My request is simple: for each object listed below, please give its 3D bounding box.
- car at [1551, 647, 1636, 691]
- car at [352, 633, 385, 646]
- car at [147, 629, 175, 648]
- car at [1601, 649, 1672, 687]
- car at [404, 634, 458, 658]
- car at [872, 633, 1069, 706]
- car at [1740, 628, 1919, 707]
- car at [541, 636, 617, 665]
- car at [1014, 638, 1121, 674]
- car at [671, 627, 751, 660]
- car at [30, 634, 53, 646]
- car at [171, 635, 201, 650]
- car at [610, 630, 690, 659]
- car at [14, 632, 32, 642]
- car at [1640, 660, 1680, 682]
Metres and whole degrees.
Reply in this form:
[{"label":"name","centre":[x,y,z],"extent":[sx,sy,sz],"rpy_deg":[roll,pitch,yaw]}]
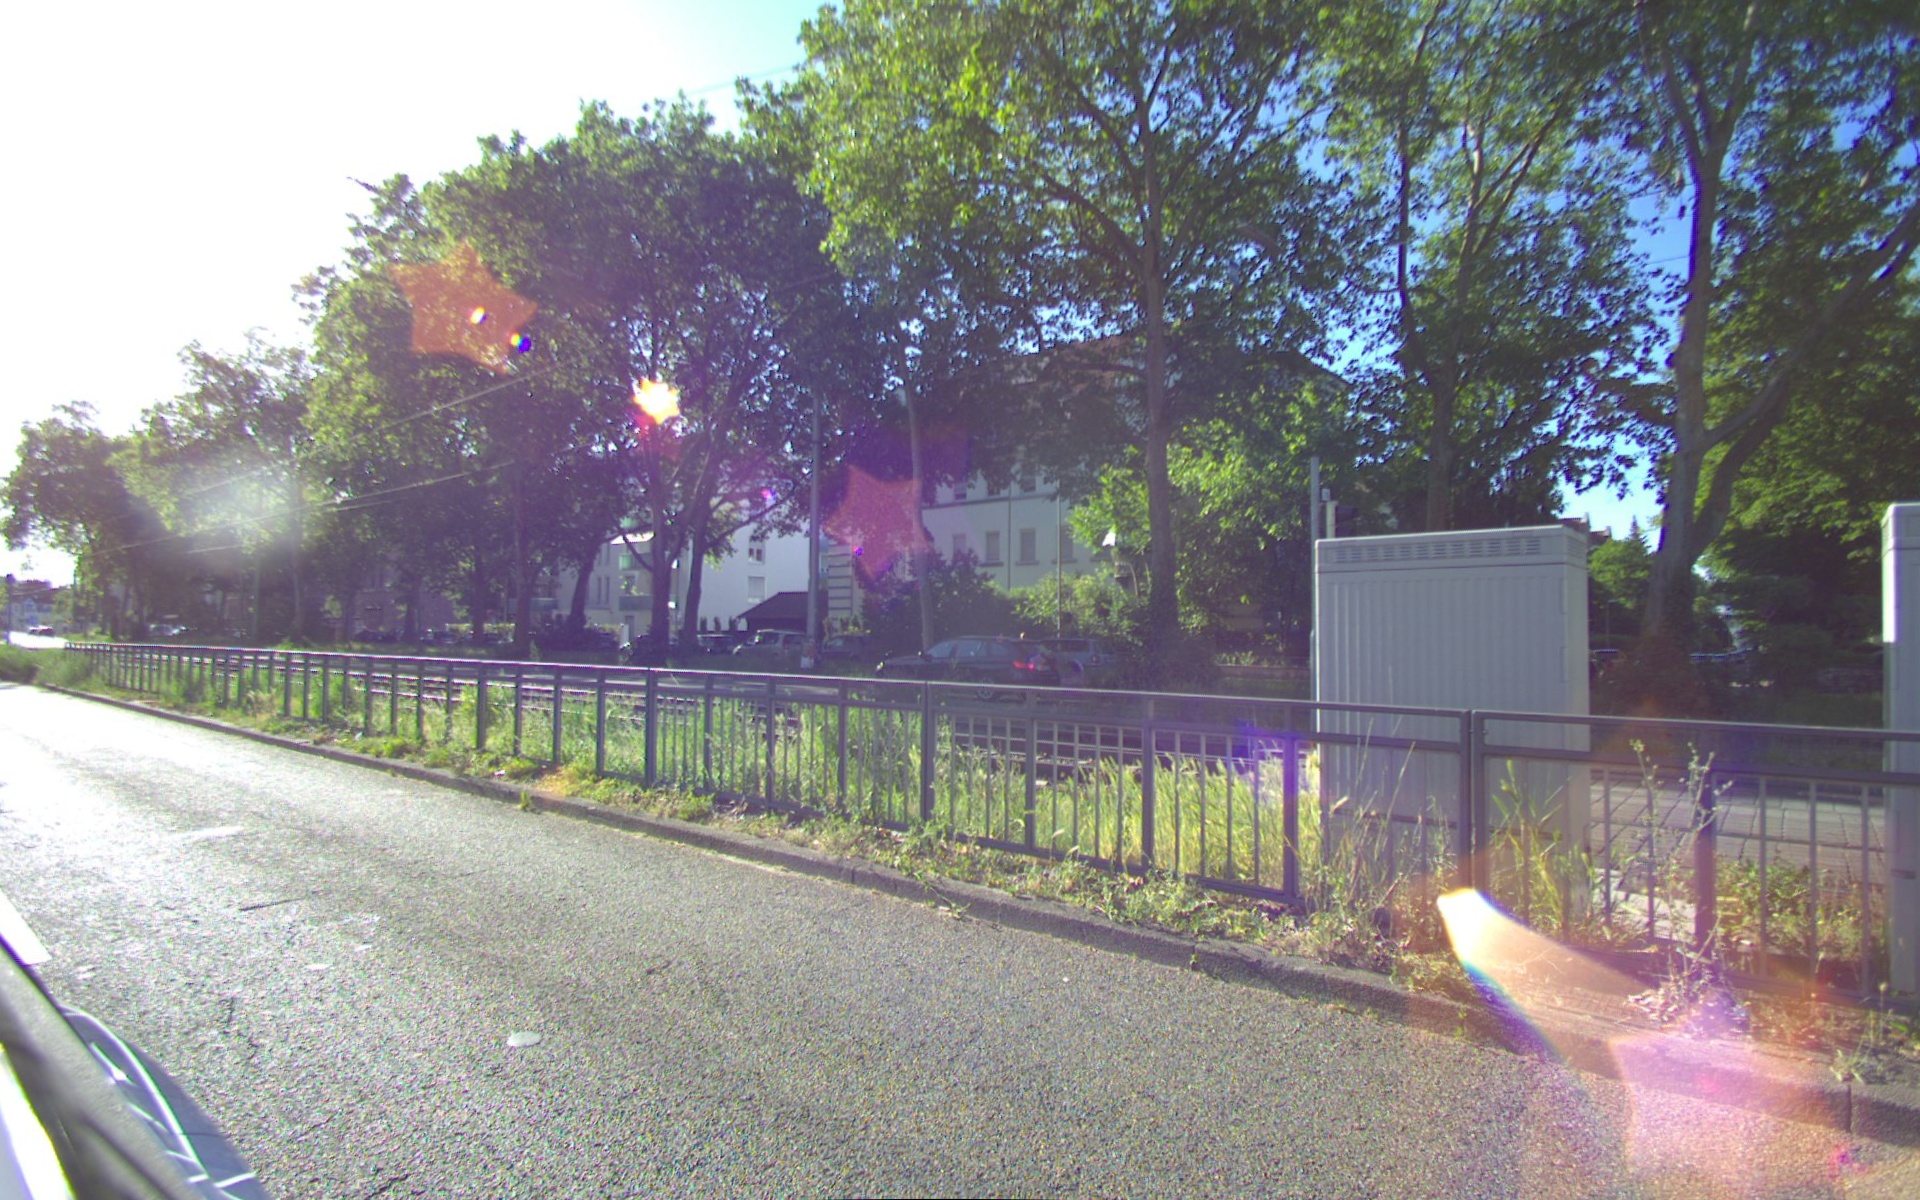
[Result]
[{"label":"car","centre":[22.911,2.429,36.539],"extent":[1.999,1.429,3.945],"rpy_deg":[-2,-2,41]},{"label":"car","centre":[-42.298,2.835,72.341],"extent":[3.058,0.883,1.094],"rpy_deg":[-2,-3,41]},{"label":"car","centre":[-87.148,4.166,110.362],"extent":[1.970,2.029,4.002],"rpy_deg":[1,-2,-45]},{"label":"car","centre":[28.450,2.807,42.510],"extent":[1.999,1.429,3.945],"rpy_deg":[-2,-2,41]},{"label":"car","centre":[-34.479,2.986,65.932],"extent":[3.998,1.484,1.778],"rpy_deg":[-2,-3,41]},{"label":"car","centre":[0.169,1.503,22.860],"extent":[4.337,1.510,1.667],"rpy_deg":[-2,-2,38]},{"label":"car","centre":[18.497,1.337,20.546],"extent":[4.141,1.521,1.652],"rpy_deg":[-2,-2,40]},{"label":"car","centre":[-20.211,2.623,53.591],"extent":[4.317,1.464,1.972],"rpy_deg":[-2,-3,42]},{"label":"car","centre":[3.491,1.810,33.117],"extent":[3.213,1.125,1.458],"rpy_deg":[-2,-2,38]},{"label":"car","centre":[-11.376,1.963,46.124],"extent":[3.696,1.476,1.756],"rpy_deg":[-2,-3,42]},{"label":"car","centre":[-133.533,5.775,147.187],"extent":[4.456,1.660,1.839],"rpy_deg":[-2,-3,40]},{"label":"car","centre":[-79.305,4.298,103.640],"extent":[3.687,1.497,1.748],"rpy_deg":[-2,-3,42]},{"label":"car","centre":[-15.113,2.148,49.235],"extent":[4.459,1.334,1.623],"rpy_deg":[-2,-5,42]},{"label":"car","centre":[-162.225,6.325,175.236],"extent":[4.000,1.720,1.971],"rpy_deg":[-2,-3,43]},{"label":"car","centre":[39.491,4.007,57.080],"extent":[1.531,1.127,3.083],"rpy_deg":[-2,-3,41]}]
